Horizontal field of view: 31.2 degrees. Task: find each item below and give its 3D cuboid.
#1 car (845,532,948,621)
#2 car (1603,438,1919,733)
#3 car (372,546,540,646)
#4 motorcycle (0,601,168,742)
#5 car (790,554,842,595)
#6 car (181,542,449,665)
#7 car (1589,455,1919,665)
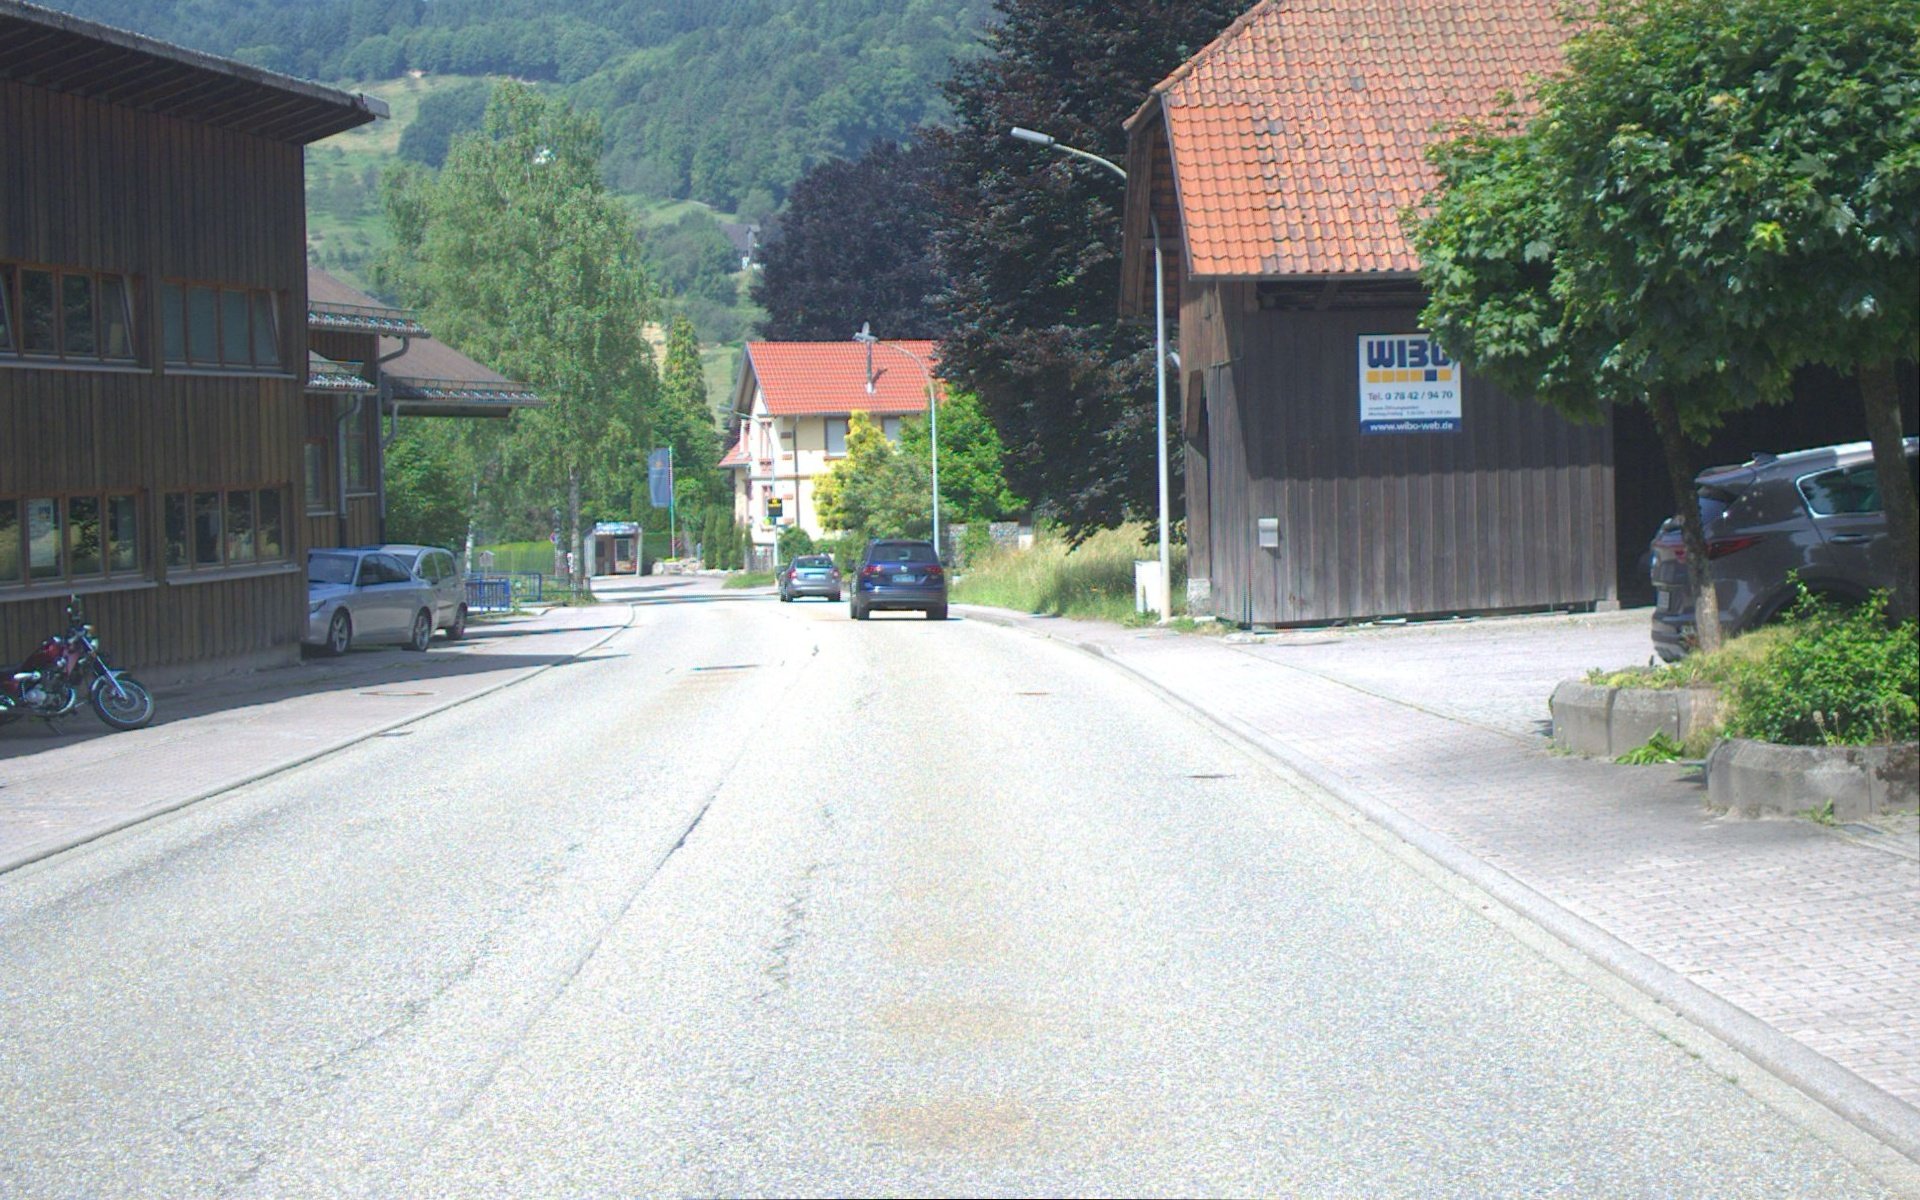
[{"bbox_3d":[-1.315,-0.487,69.617,1.919,1.692,3.789,-2,1,-2],"label":"car"},{"bbox_3d":[6.518,-0.240,22.417,4.221,1.681,1.776,-6,1,3],"label":"car"},{"bbox_3d":[-8.618,-0.101,59.076,1.581,1.564,4.021,2,2,11],"label":"car"},{"bbox_3d":[-8.813,0.688,32.555,2.409,1.260,0.743,-2,1,10],"label":"motorcycle"},{"bbox_3d":[-4.566,-0.811,108.940,1.476,1.205,2.384,-3,1,-5],"label":"car"},{"bbox_3d":[-8.602,0.013,46.306,1.730,1.449,4.802,-1,2,13],"label":"car"},{"bbox_3d":[8.300,-0.422,32.712,4.126,1.826,1.954,-3,1,-4],"label":"car"}]
